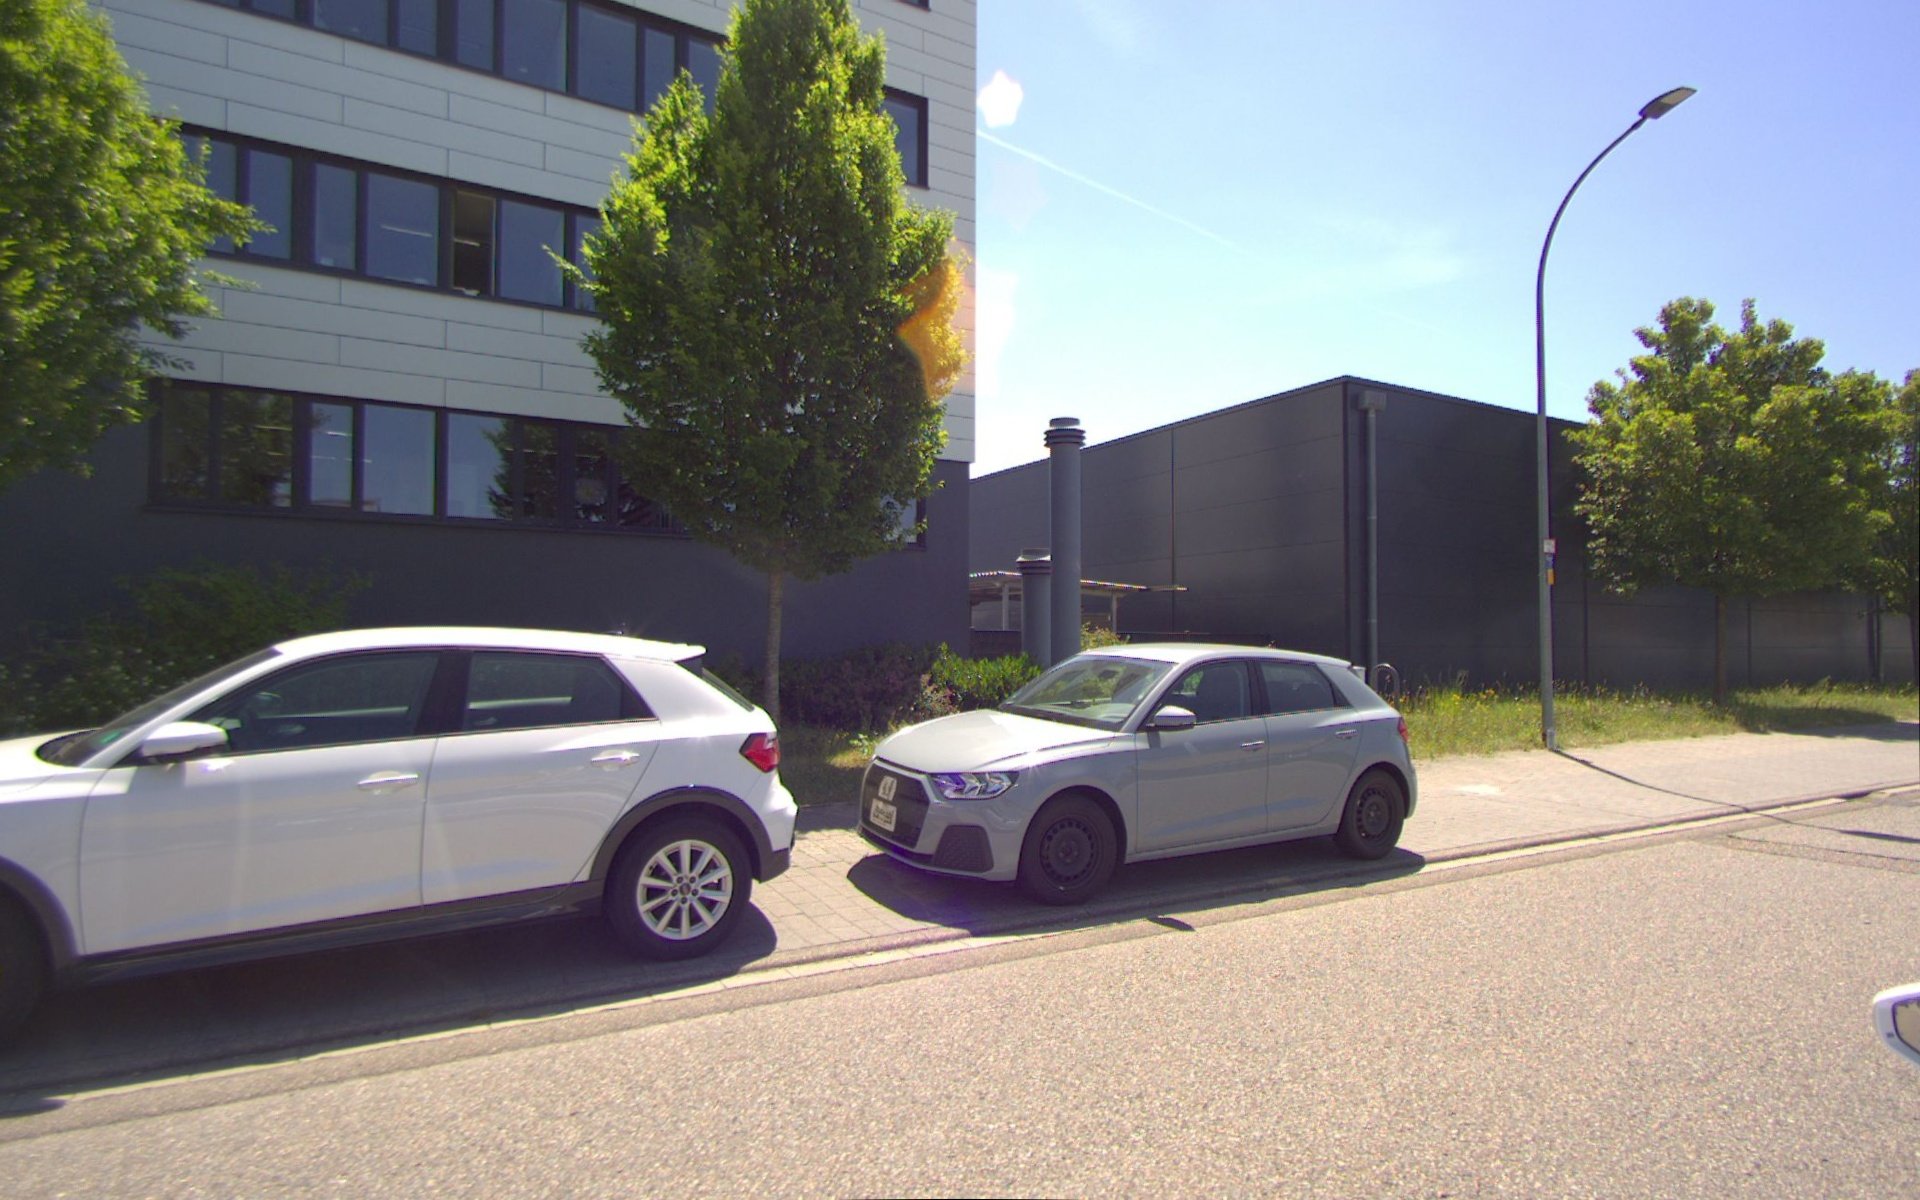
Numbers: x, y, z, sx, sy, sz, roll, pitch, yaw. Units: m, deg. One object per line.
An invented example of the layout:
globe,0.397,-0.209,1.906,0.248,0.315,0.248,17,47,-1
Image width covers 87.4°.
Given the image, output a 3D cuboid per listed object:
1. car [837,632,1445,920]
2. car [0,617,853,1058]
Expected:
car,1.308,0.979,6.874,3.893,1.450,1.763,2,-2,-30
car,-2.754,0.835,4.596,4.151,1.450,1.763,2,-2,-30
